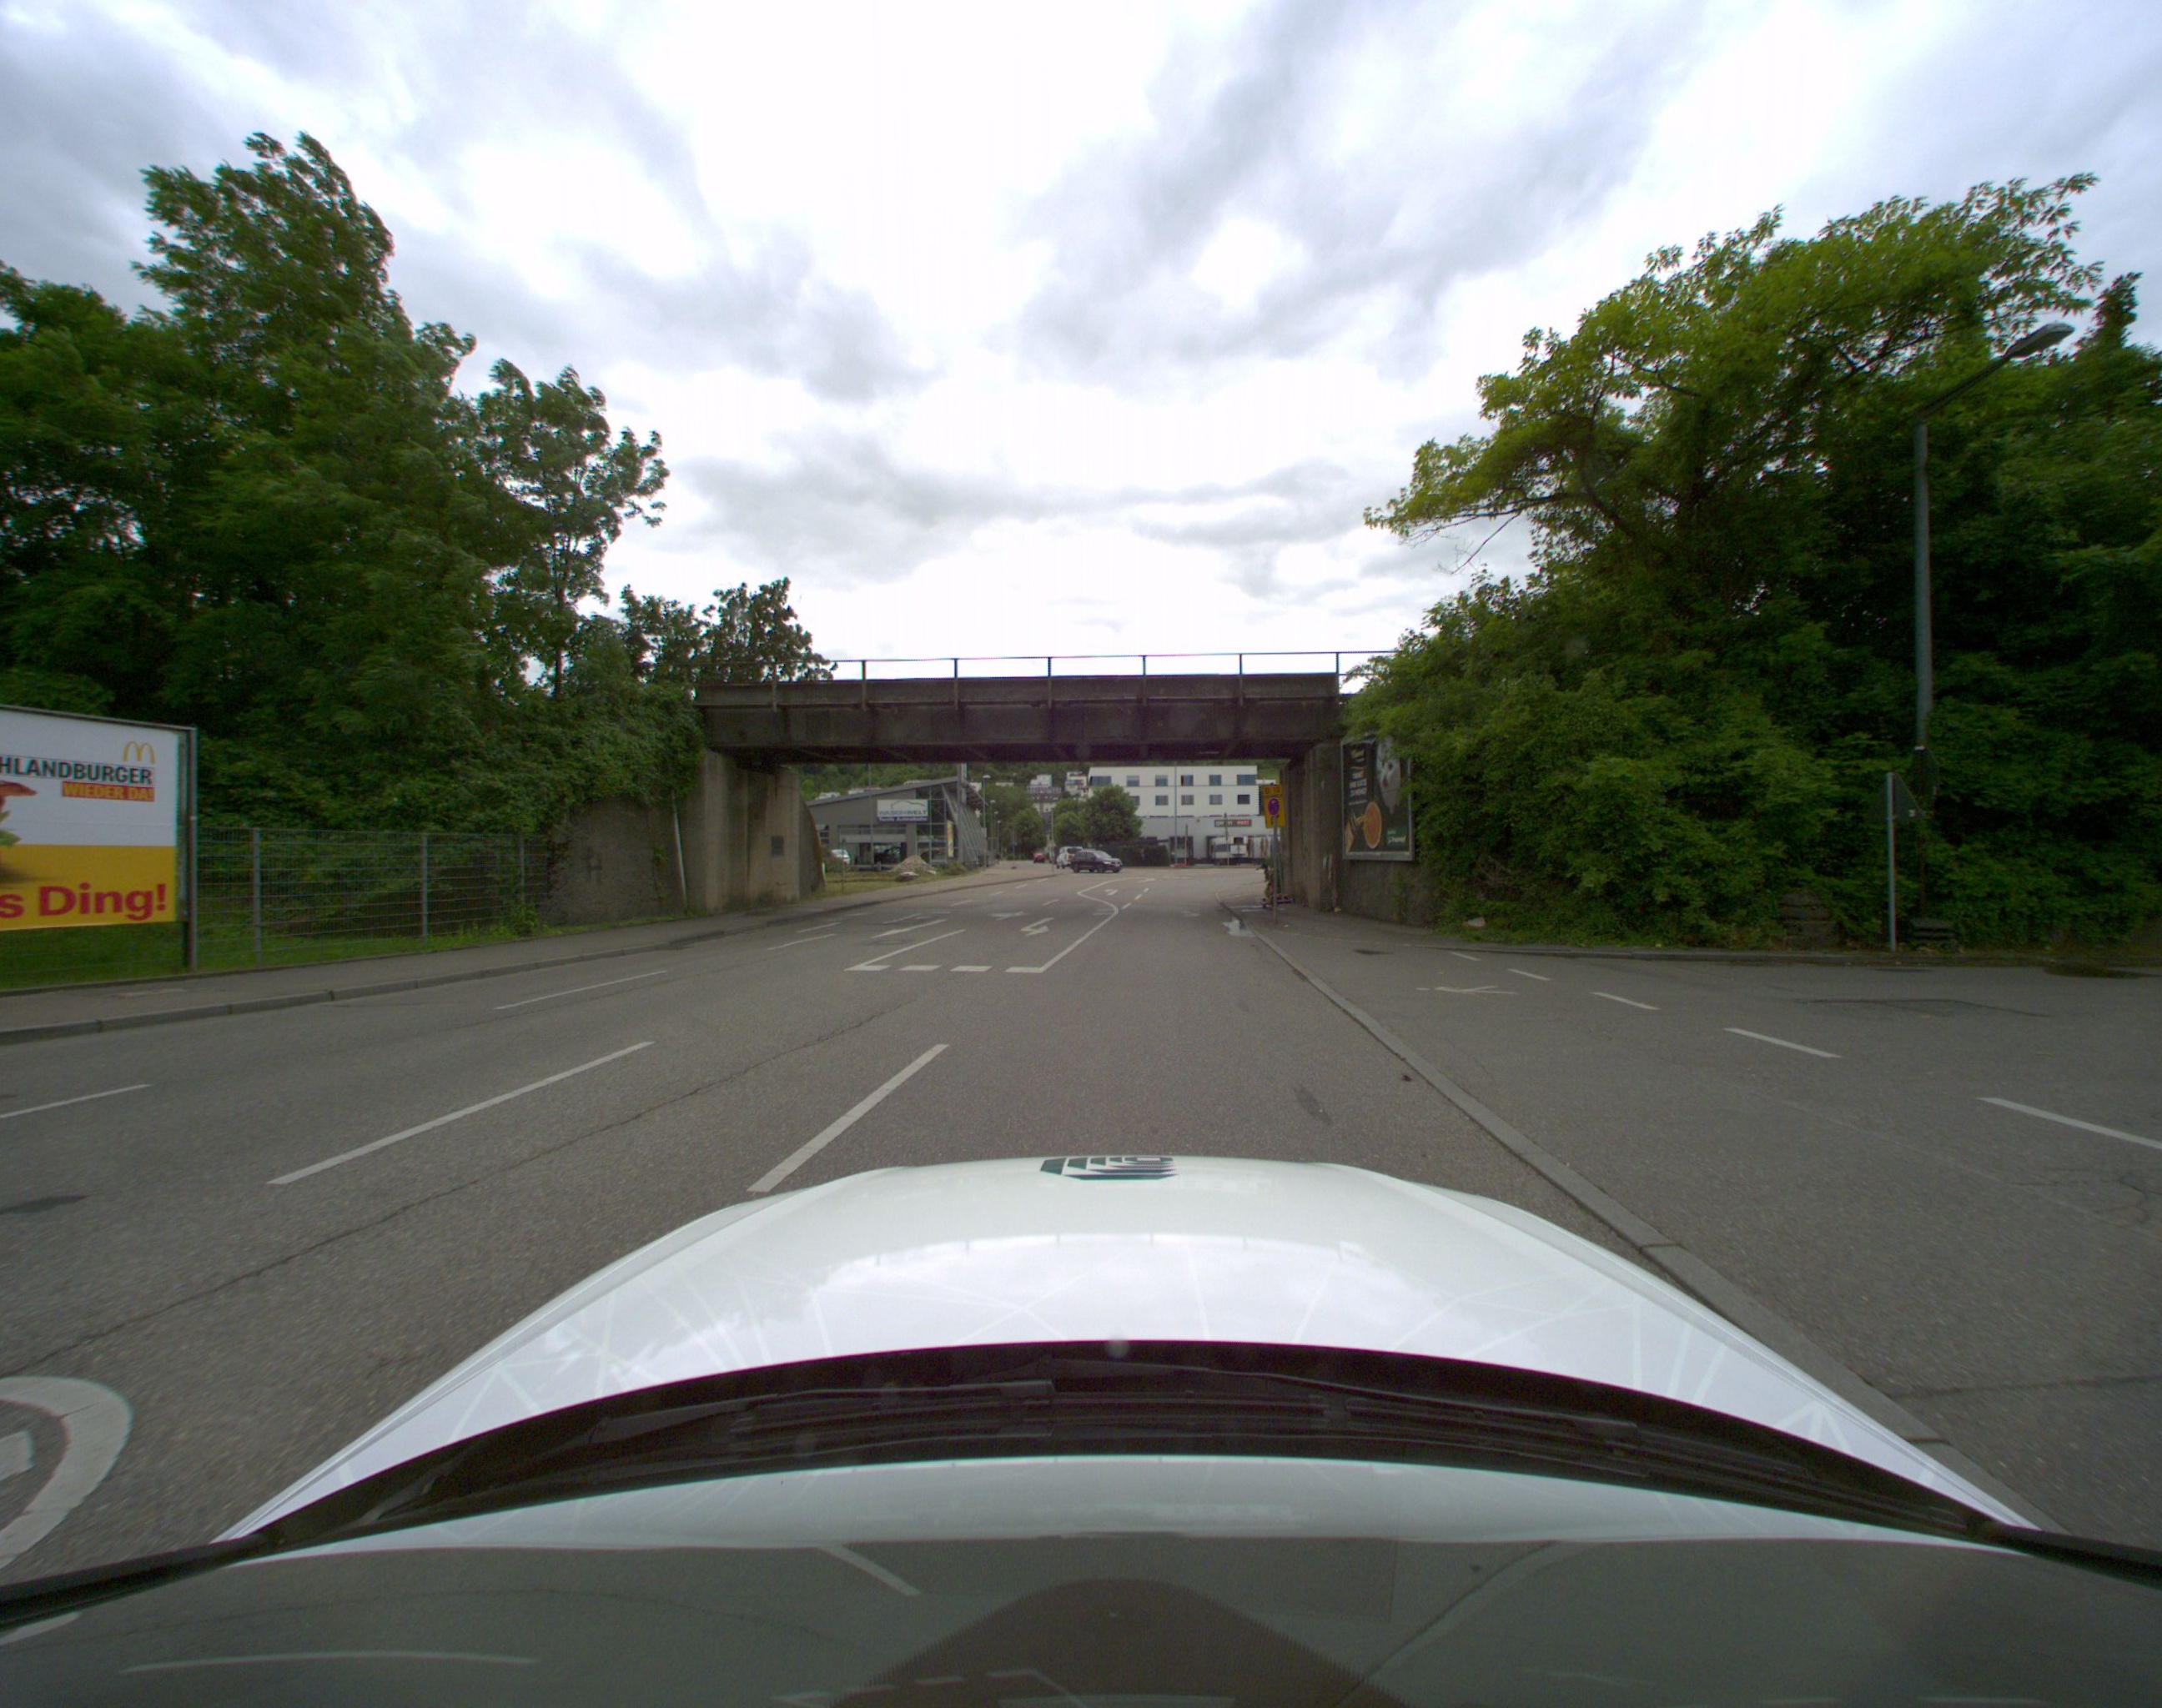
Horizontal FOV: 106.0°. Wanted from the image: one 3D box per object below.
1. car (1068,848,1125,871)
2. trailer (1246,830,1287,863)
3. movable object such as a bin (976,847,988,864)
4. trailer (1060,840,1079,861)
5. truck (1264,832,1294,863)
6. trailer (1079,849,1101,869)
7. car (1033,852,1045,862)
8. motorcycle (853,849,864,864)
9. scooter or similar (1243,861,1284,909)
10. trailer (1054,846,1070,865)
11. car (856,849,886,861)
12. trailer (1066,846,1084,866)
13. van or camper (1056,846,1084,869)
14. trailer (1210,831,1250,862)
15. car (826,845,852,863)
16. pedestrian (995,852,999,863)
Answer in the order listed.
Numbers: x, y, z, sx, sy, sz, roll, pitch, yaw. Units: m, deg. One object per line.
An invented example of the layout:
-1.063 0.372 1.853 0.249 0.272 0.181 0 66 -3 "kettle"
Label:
1.107 0.429 60.565 2.010 1.684 4.321 0 -1 -38 "car"
25.537 -0.967 112.437 2.776 4.301 11.173 0 0 -2 "trailer"
-10.328 0.206 85.349 1.139 1.757 1.058 -1 -1 -2 "movable object such as a bin"
-2.079 -0.644 145.966 3.062 3.759 4.927 0 0 -4 "trailer"
25.733 -0.831 105.751 2.786 4.040 4.162 0 0 -2 "truck"
0.897 0.461 84.218 1.990 2.013 3.994 0 1 -4 "trailer"
-7.345 0.590 143.529 1.988 1.684 3.997 -1 -1 -2 "car"
-24.531 0.261 89.788 0.839 1.710 2.358 0 0 -6 "motorcycle"
5.071 0.840 22.739 0.503 1.236 1.665 -5 0 -7 "scooter or similar"
-2.912 0.200 123.810 2.275 2.953 3.994 0 0 -4 "trailer"
-29.050 0.119 112.804 3.994 1.728 1.990 0 0 -15 "car"
-0.794 0.235 101.882 1.990 2.343 3.994 0 1 -4 "trailer"
-1.029 0.350 76.099 2.098 2.083 4.193 -1 -1 -8 "van or camper"
20.378 -0.928 111.863 3.073 4.077 11.401 0 0 -2 "trailer"
-20.441 -0.003 68.801 1.999 1.535 3.975 0 0 -18 "car"
-13.364 0.507 129.114 0.627 1.673 0.756 -1 -1 -8 "pedestrian"
